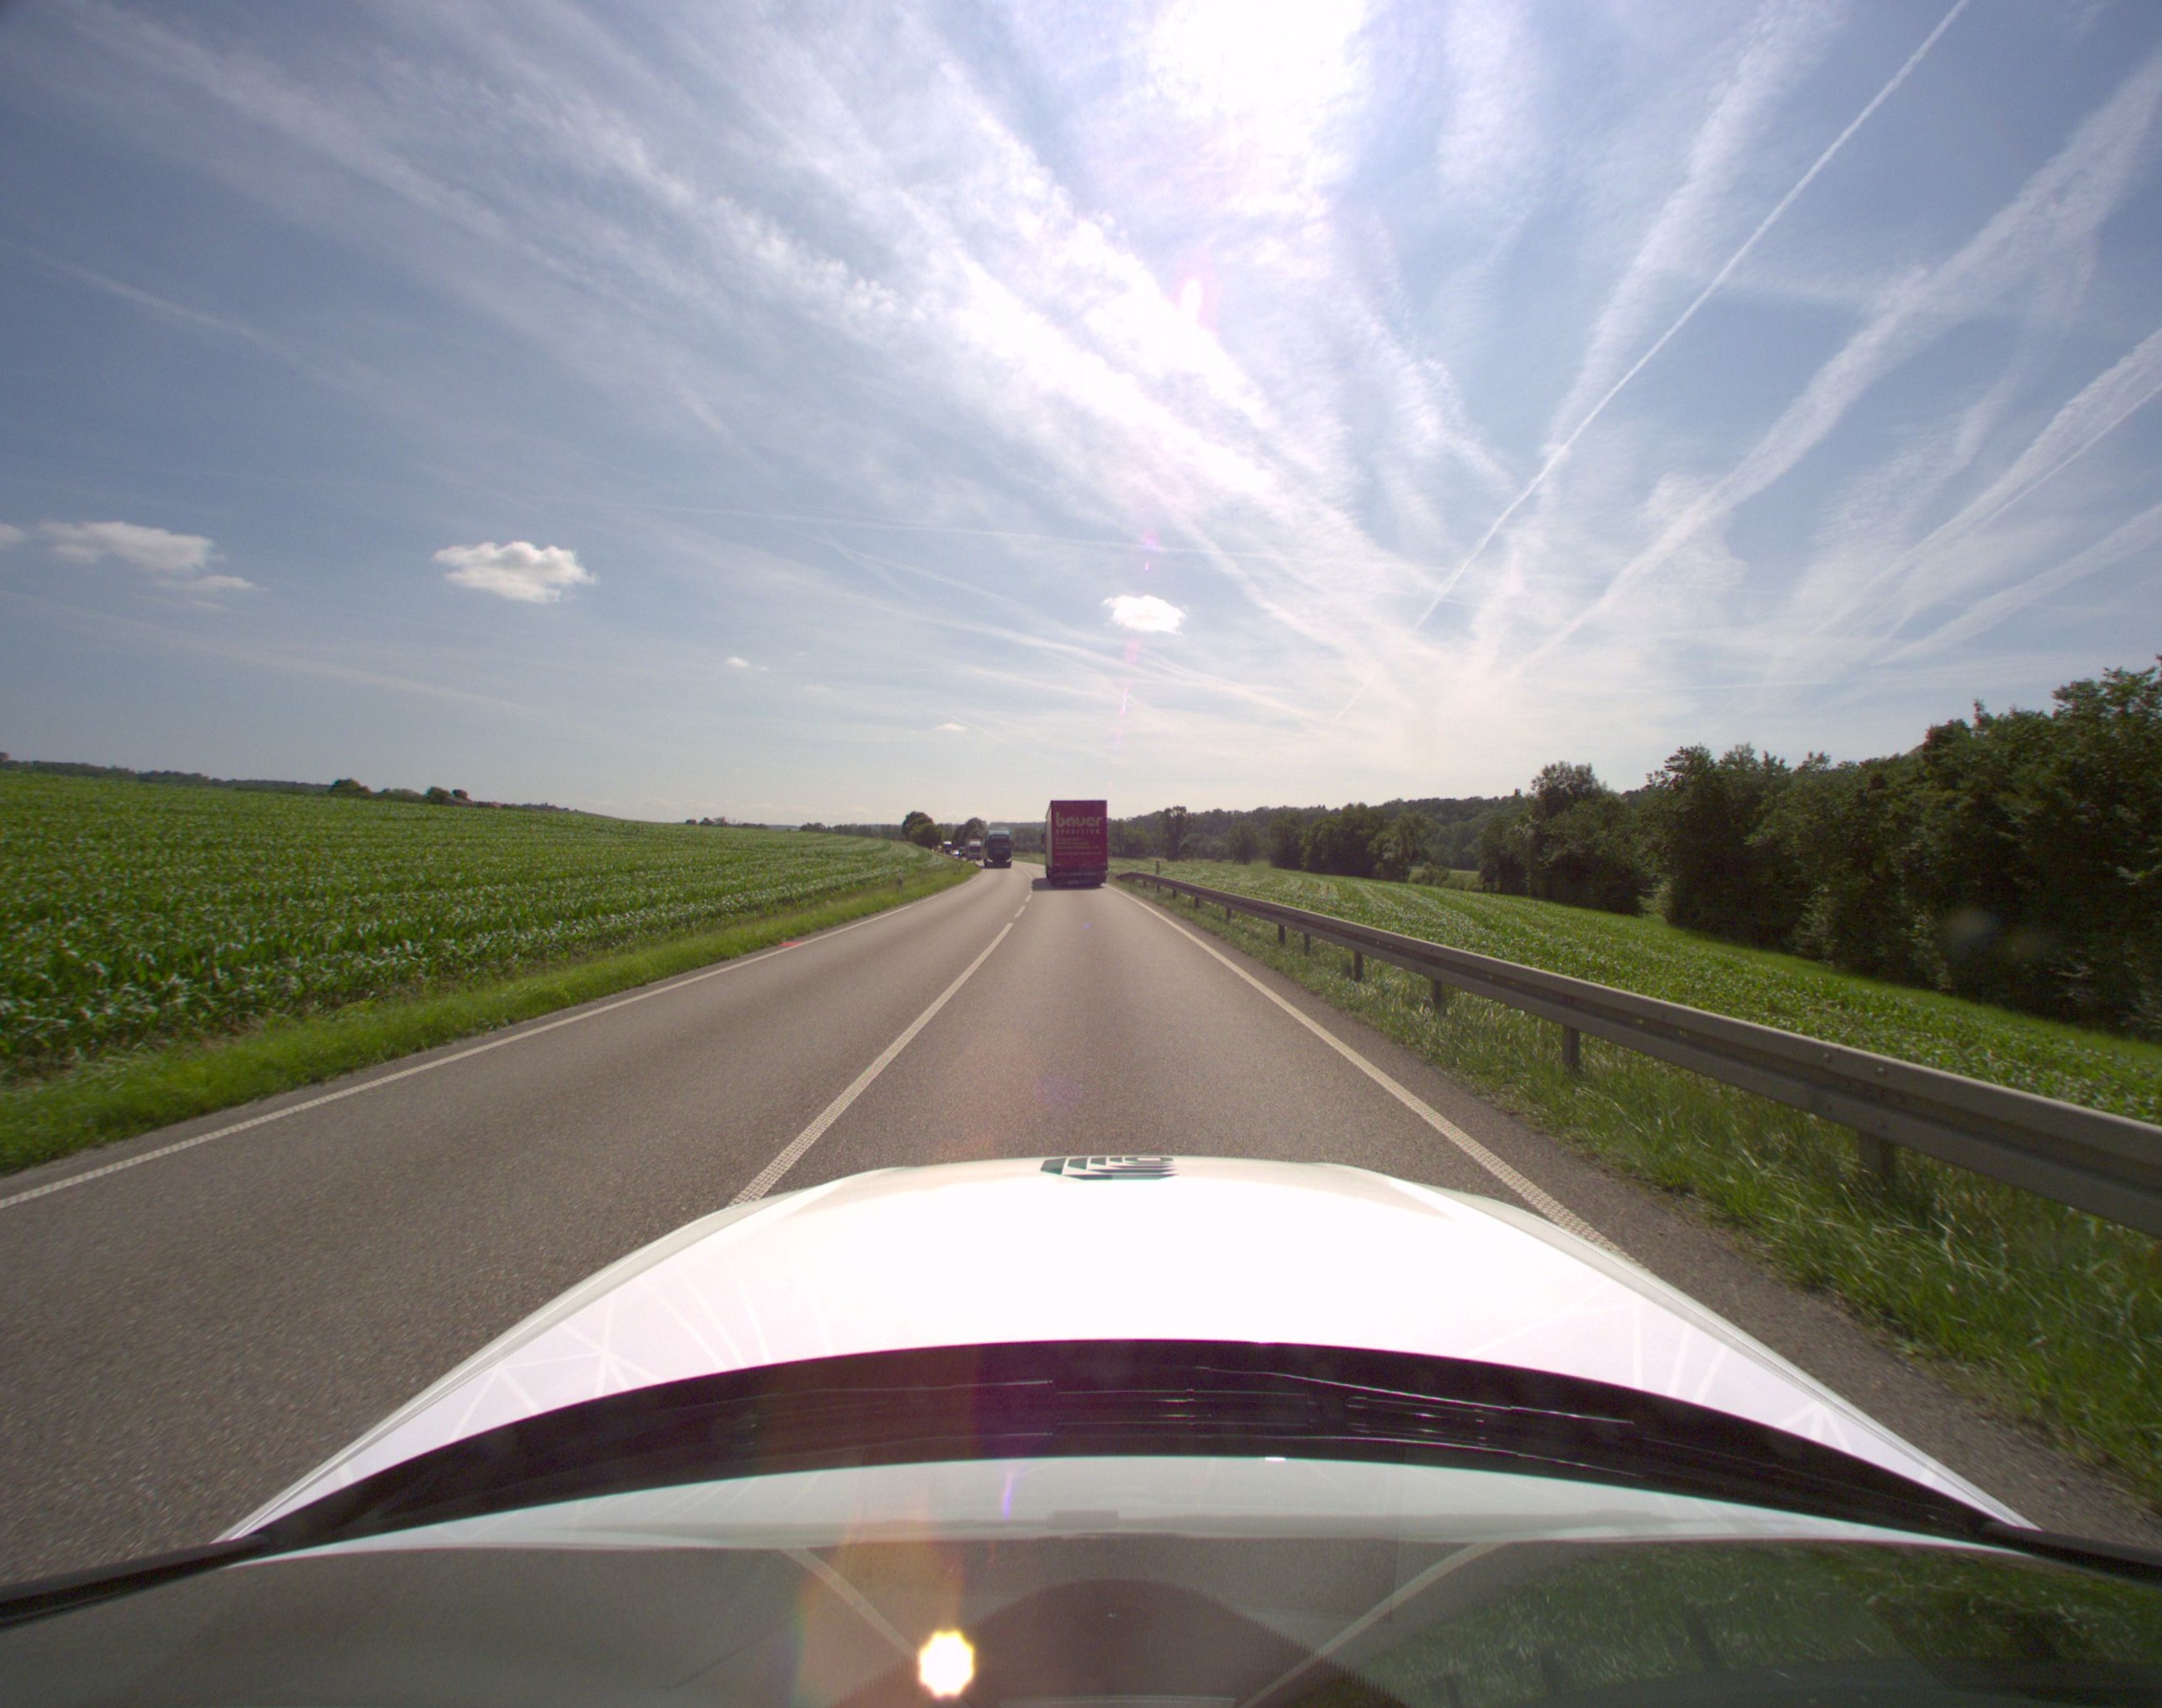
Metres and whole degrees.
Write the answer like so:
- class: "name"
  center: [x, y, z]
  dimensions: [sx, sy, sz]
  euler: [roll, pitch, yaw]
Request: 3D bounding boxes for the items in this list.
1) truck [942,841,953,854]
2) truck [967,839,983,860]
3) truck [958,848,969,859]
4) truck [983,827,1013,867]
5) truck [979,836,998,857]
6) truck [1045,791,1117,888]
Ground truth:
- class: "truck"
  center: [-41.264, -1.949, 251.353]
  dimensions: [2.828, 3.992, 16.468]
  euler: [-1, 0, -11]
- class: "truck"
  center: [-18.482, -0.784, 141.946]
  dimensions: [2.739, 3.578, 9.700]
  euler: [-1, 0, -8]
- class: "truck"
  center: [-24.499, -0.072, 169.015]
  dimensions: [2.010, 2.320, 5.172]
  euler: [-1, 0, -11]
- class: "truck"
  center: [-9.400, -0.693, 90.517]
  dimensions: [2.769, 3.998, 16.983]
  euler: [-1, 0, -7]
- class: "truck"
  center: [-20.384, -1.596, 178.613]
  dimensions: [3.639, 4.292, 11.948]
  euler: [-1, -1, -9]
- class: "truck"
  center: [-0.196, -0.631, 40.190]
  dimensions: [3.087, 4.263, 8.305]
  euler: [-1, 0, -3]
